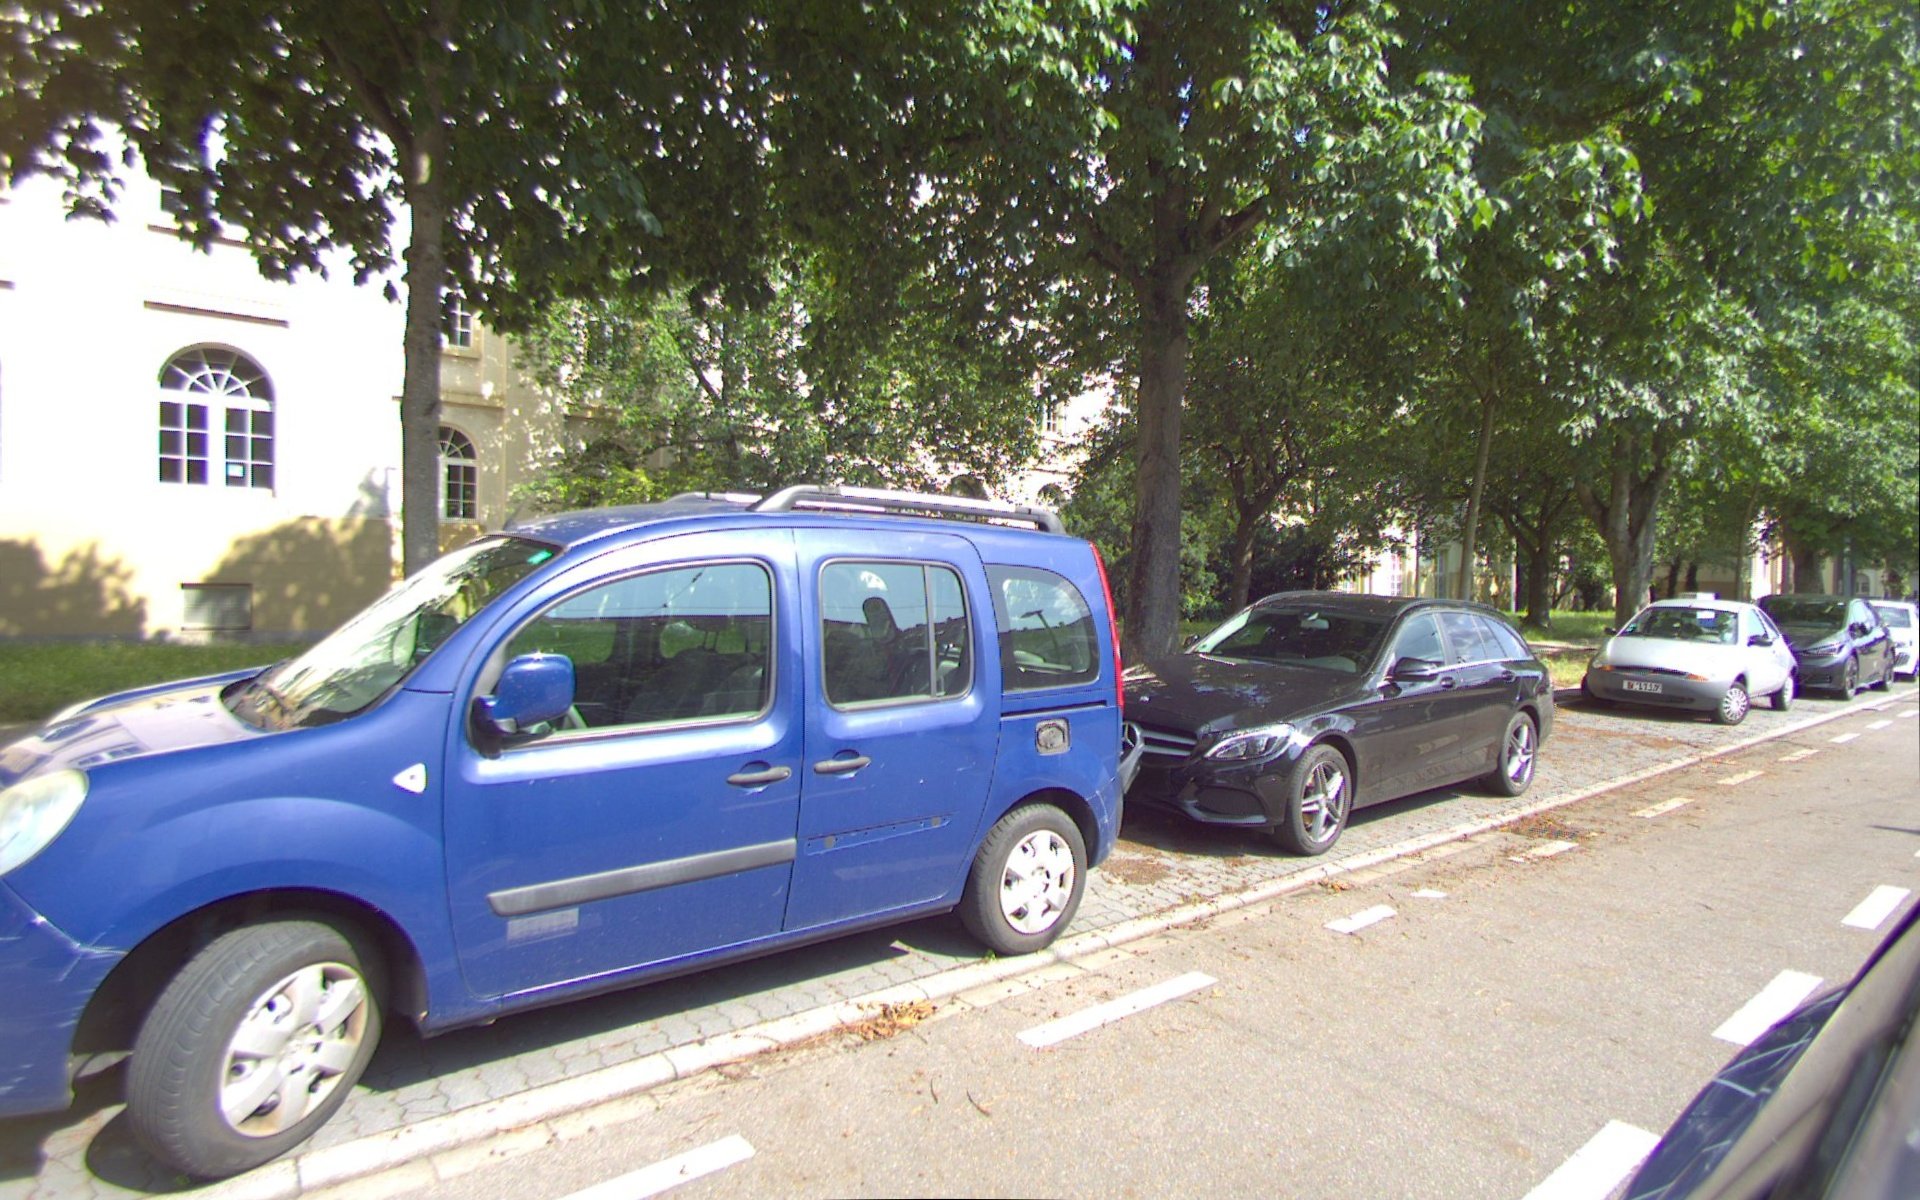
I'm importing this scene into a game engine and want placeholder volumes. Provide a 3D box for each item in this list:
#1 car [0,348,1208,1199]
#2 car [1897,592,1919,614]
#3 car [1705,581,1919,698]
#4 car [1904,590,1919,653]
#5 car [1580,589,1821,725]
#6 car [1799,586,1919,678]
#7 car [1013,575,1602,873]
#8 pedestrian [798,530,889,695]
[{"bbox_3d":[-1.118,0.408,3.954,4.106,1.919,1.828,1,2,-37],"label":"car"},{"bbox_3d":[77.689,0.277,80.153,1.820,1.676,4.843,-1,2,-28],"label":"car"},{"bbox_3d":[13.845,0.546,16.333,4.591,1.603,1.730,0,2,-38],"label":"car"},{"bbox_3d":[24.815,0.549,25.157,3.497,1.478,1.559,-1,5,-41],"label":"car"},{"bbox_3d":[9.631,0.620,13.097,3.532,1.462,1.595,0,3,-38],"label":"car"},{"bbox_3d":[18.087,0.553,19.833,4.179,1.542,1.839,0,4,-41],"label":"car"},{"bbox_3d":[2.792,0.636,7.493,4.711,1.459,1.922,0,3,-40],"label":"car"},{"bbox_3d":[-1.274,0.120,11.014,0.751,1.717,0.748,1,1,-27],"label":"pedestrian"}]
